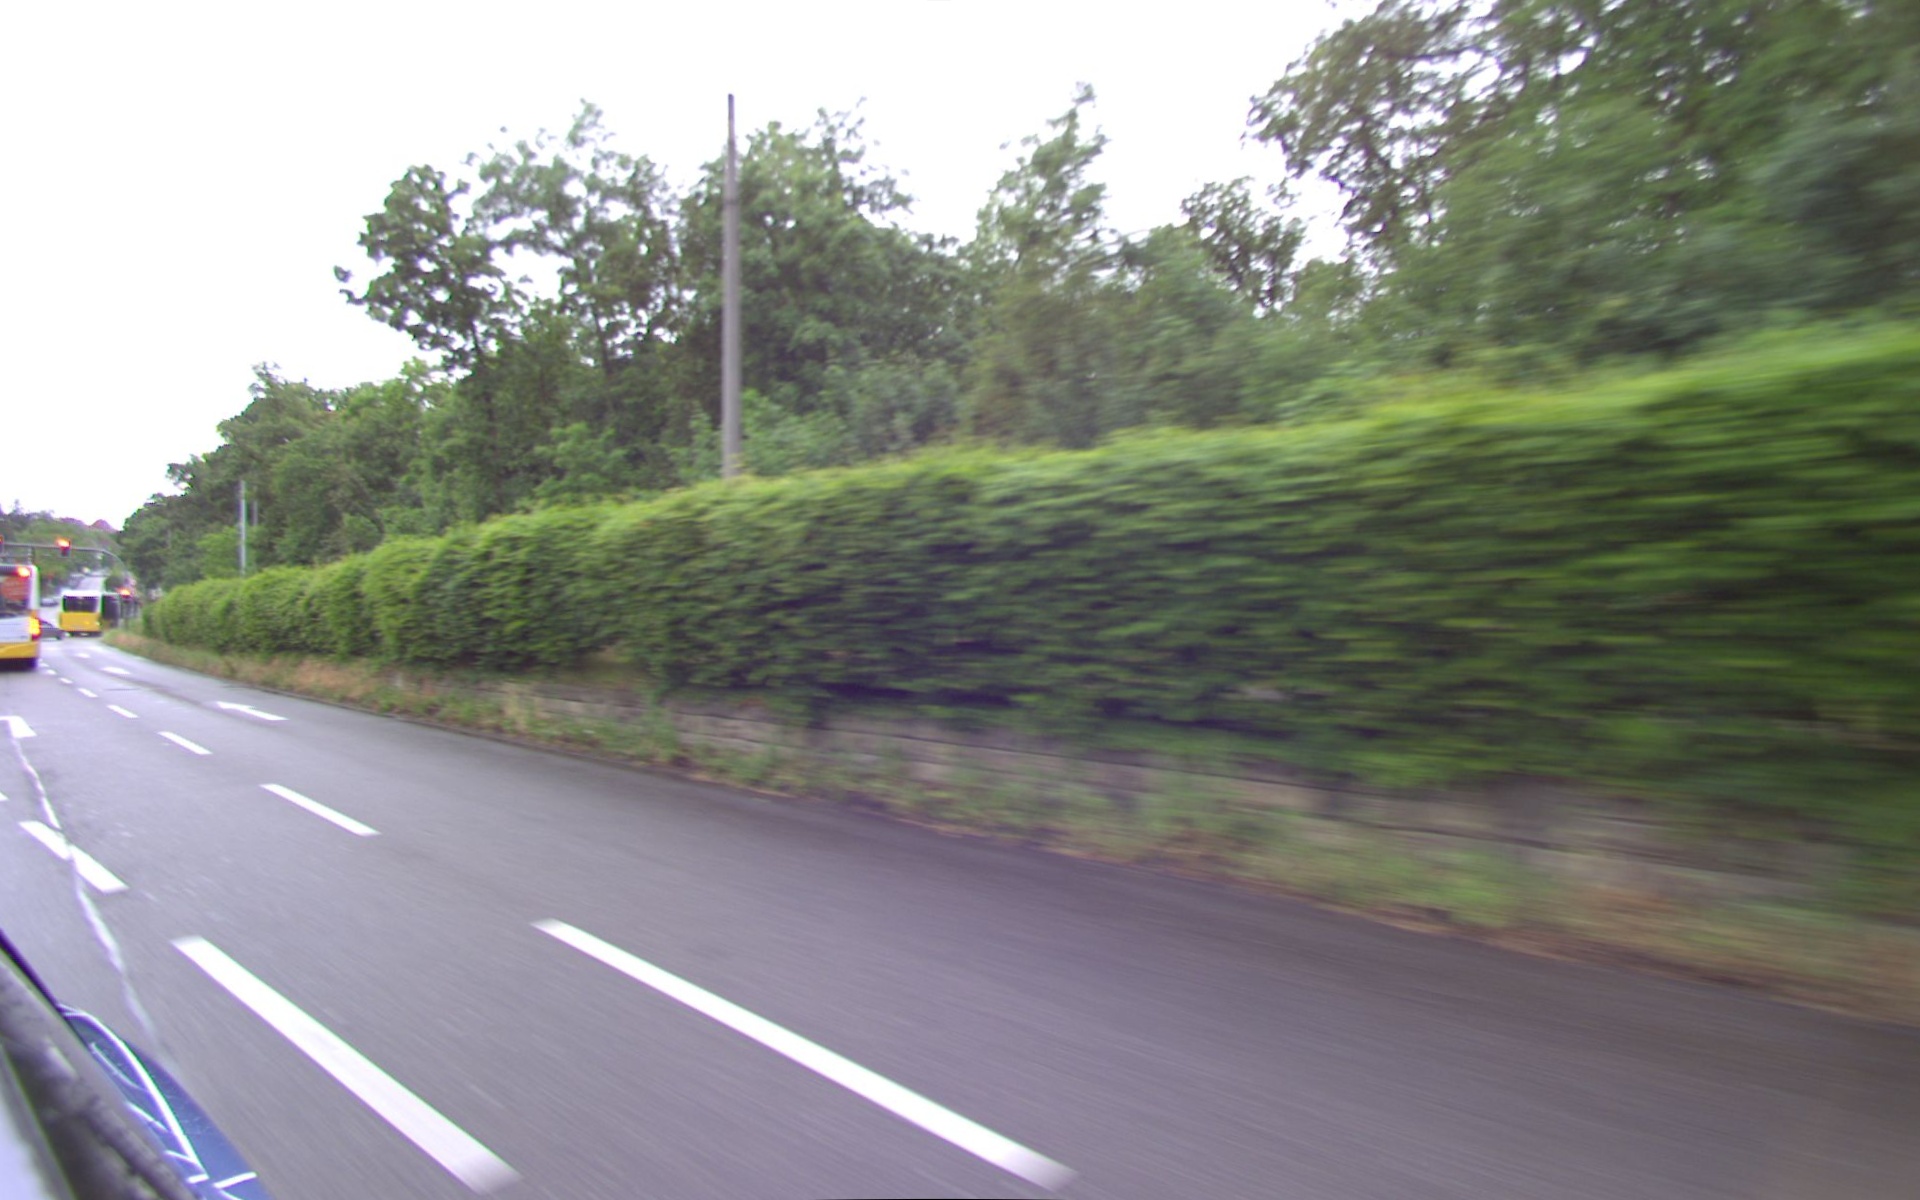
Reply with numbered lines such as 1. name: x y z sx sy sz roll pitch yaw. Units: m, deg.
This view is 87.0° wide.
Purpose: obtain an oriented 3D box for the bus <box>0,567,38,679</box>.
1. bus: -30.467 0.727 31.437 2.564 3.182 8.643 0 -1 -43

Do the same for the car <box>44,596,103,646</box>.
1. car: -67.602 1.611 77.320 2.812 3.616 6.619 1 -2 -37
